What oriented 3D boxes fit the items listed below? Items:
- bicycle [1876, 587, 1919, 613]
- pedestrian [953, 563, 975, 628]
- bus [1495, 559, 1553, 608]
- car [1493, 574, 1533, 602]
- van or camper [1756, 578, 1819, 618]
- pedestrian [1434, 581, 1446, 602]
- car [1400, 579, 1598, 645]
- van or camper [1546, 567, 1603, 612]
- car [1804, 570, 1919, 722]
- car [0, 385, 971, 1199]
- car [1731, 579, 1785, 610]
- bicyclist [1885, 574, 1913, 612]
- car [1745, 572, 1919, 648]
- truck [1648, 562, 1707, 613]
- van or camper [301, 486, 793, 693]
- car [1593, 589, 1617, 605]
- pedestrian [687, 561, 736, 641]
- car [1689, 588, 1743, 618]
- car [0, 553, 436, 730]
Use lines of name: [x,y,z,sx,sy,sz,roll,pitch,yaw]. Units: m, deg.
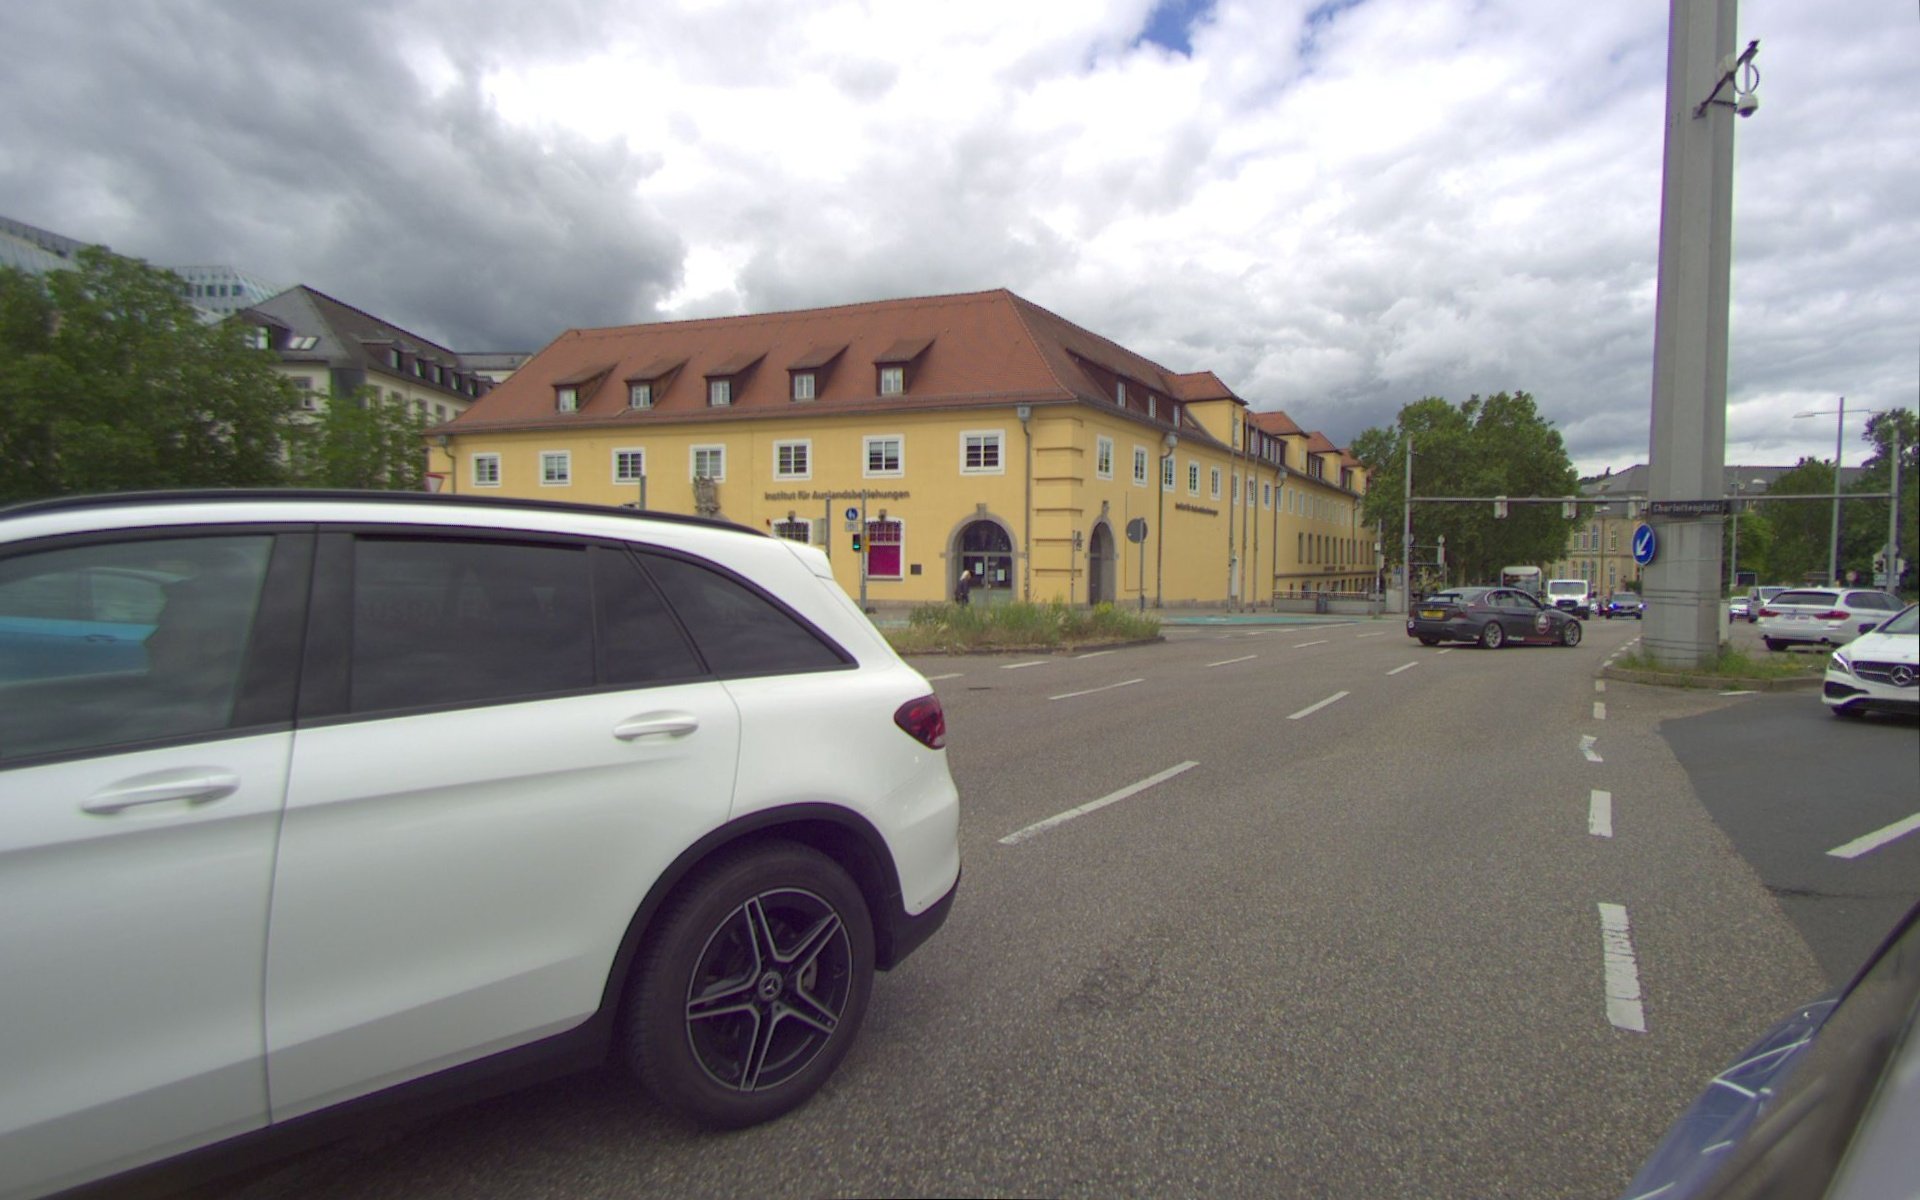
bicycle: [41.618,-0.008,44.679,1.701,1.085,0.504,1,1,10]
pedestrian: [0.113,-0.143,30.384,0.626,1.918,0.558,1,1,-1]
bus: [41.062,-1.278,73.799,3.405,3.243,12.931,1,2,29]
car: [30.619,-0.692,55.980,1.814,1.426,3.957,2,2,31]
van or camper: [42.695,-0.163,52.307,1.851,1.940,4.662,1,2,31]
pedestrian: [32.329,-0.553,68.146,0.676,1.397,0.573,2,1,29]
car: [12.310,0.229,23.102,4.322,1.350,1.762,-1,1,-26]
van or camper: [33.668,-0.601,55.347,2.359,2.290,6.212,2,2,34]
car: [12.021,0.475,11.680,4.557,1.589,1.874,0,1,-27]
car: [-2.158,0.451,2.336,4.259,1.667,1.805,0,2,-42]
car: [47.270,-0.357,60.008,1.984,1.776,3.917,2,2,31]
bicyclist: [41.510,-0.297,44.740,0.710,1.660,0.504,1,1,9]
car: [20.362,0.157,22.971,4.936,1.523,2.004,-1,1,-25]
truck: [53.280,-0.987,75.307,2.769,3.533,8.260,2,2,30]
van or camper: [-5.608,-0.168,14.428,6.032,2.508,2.151,0,1,-22]
car: [62.747,-0.296,98.503,1.799,1.395,3.600,2,2,30]
pedestrian: [-5.694,0.010,23.220,0.817,1.811,0.748,0,1,18]
car: [39.063,0.106,52.389,1.726,1.417,3.674,2,2,29]
car: [-7.733,0.345,9.876,4.531,1.501,1.952,0,0,-24]
